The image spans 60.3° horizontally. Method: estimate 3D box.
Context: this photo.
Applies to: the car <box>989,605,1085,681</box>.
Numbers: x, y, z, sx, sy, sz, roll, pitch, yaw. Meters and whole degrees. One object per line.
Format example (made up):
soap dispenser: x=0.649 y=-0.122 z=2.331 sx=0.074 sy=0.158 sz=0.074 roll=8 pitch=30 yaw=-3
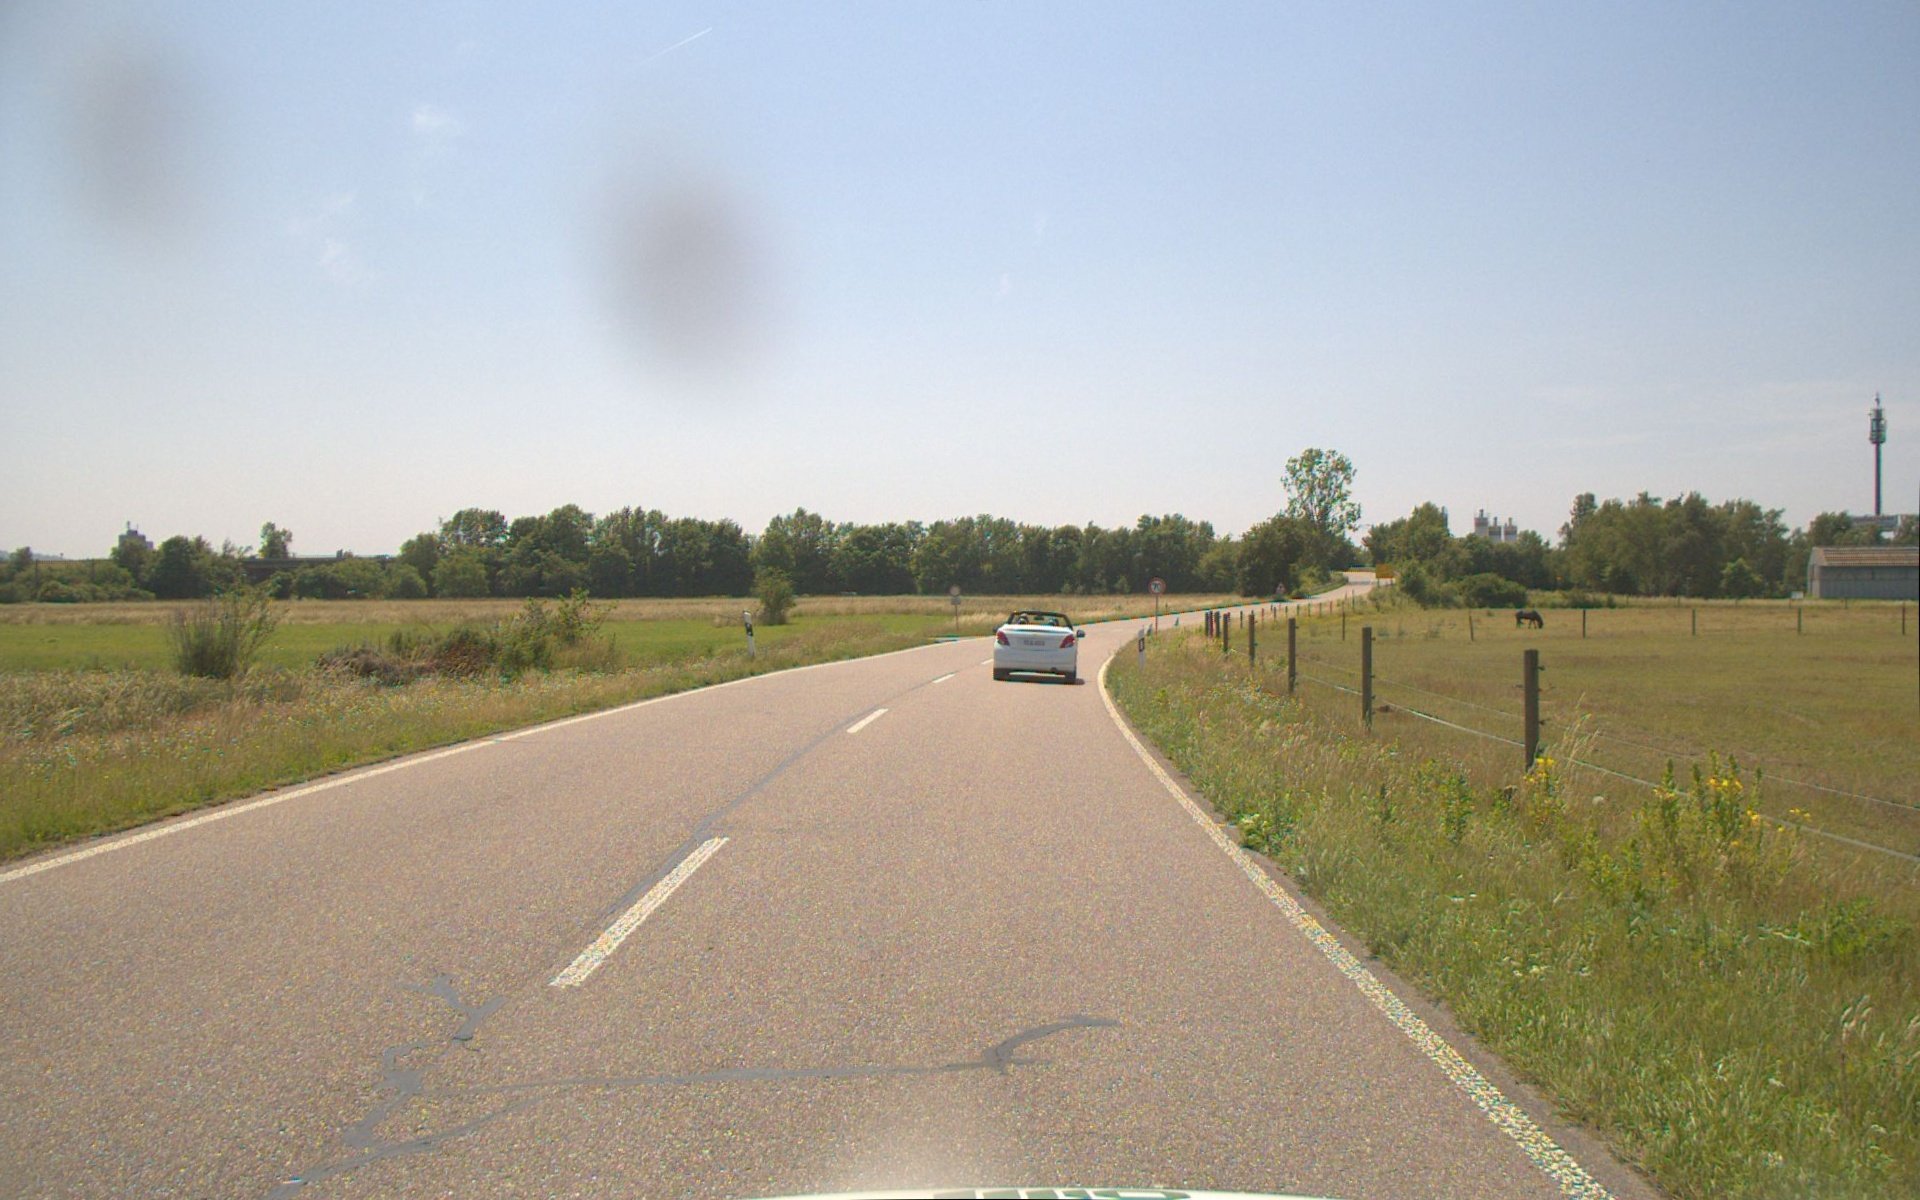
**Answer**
car: x=1.616 y=0.858 z=34.265 sx=1.812 sy=1.403 sz=4.001 roll=2 pitch=-1 yaw=3
